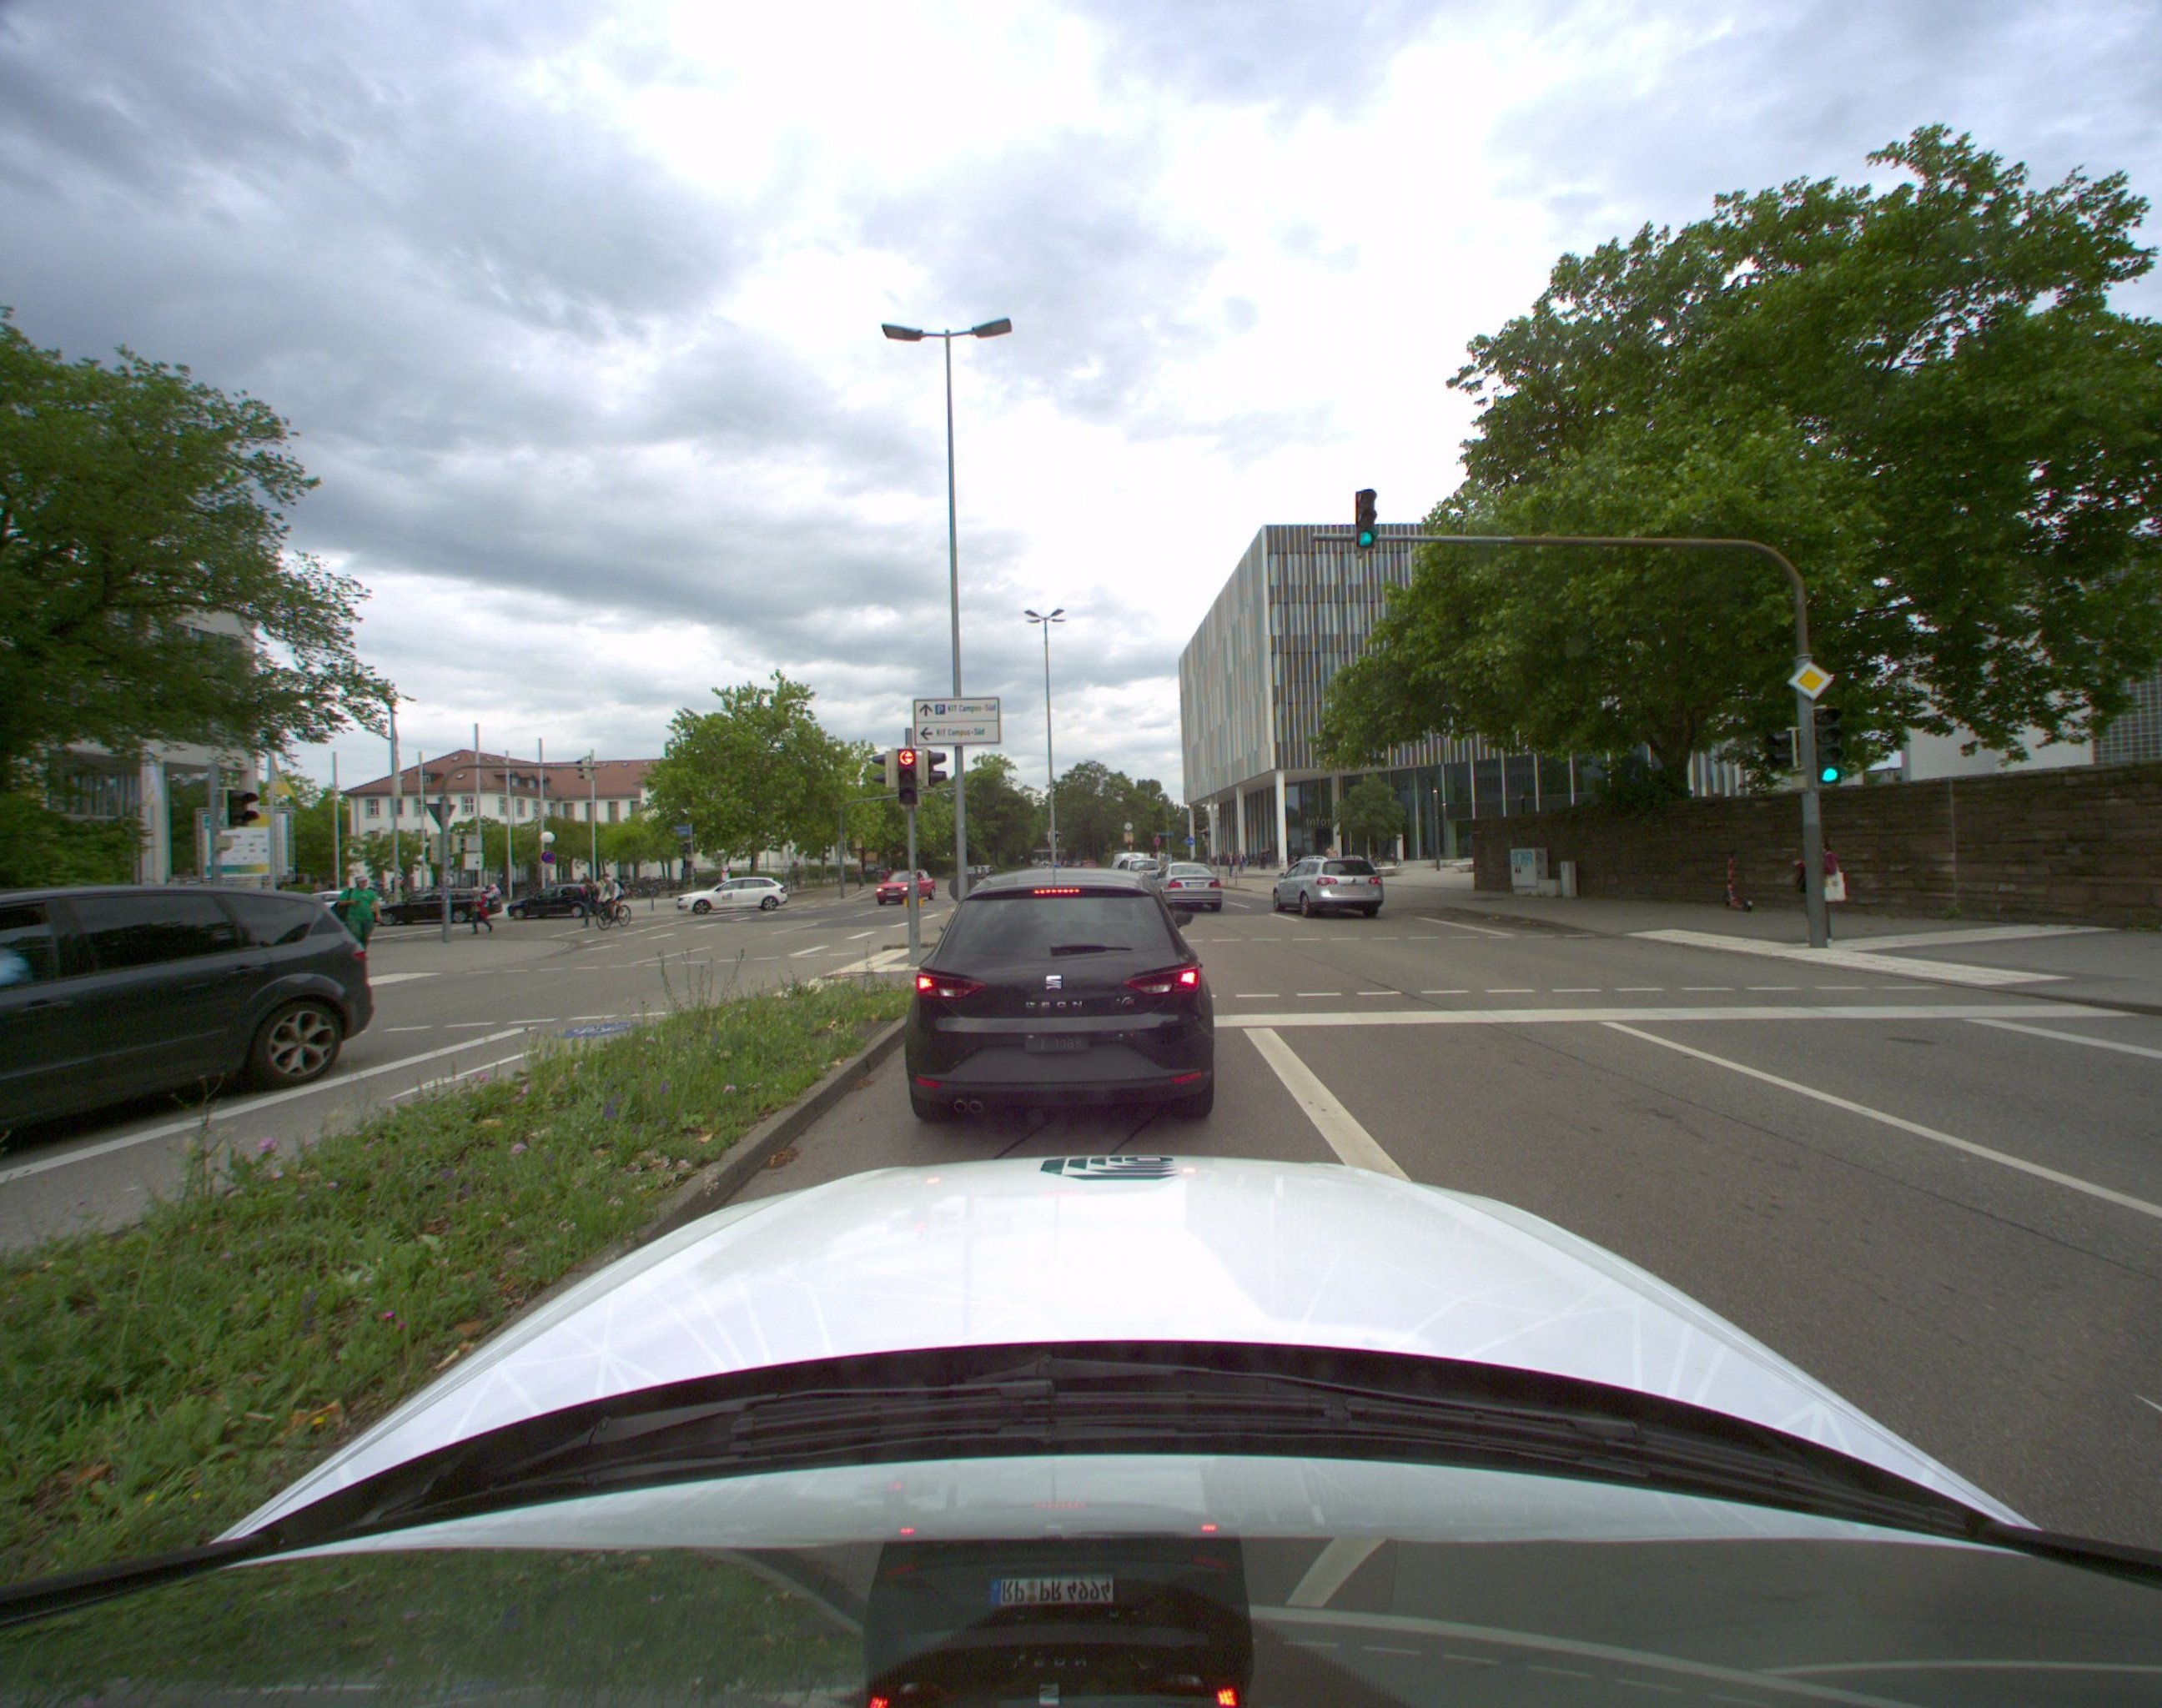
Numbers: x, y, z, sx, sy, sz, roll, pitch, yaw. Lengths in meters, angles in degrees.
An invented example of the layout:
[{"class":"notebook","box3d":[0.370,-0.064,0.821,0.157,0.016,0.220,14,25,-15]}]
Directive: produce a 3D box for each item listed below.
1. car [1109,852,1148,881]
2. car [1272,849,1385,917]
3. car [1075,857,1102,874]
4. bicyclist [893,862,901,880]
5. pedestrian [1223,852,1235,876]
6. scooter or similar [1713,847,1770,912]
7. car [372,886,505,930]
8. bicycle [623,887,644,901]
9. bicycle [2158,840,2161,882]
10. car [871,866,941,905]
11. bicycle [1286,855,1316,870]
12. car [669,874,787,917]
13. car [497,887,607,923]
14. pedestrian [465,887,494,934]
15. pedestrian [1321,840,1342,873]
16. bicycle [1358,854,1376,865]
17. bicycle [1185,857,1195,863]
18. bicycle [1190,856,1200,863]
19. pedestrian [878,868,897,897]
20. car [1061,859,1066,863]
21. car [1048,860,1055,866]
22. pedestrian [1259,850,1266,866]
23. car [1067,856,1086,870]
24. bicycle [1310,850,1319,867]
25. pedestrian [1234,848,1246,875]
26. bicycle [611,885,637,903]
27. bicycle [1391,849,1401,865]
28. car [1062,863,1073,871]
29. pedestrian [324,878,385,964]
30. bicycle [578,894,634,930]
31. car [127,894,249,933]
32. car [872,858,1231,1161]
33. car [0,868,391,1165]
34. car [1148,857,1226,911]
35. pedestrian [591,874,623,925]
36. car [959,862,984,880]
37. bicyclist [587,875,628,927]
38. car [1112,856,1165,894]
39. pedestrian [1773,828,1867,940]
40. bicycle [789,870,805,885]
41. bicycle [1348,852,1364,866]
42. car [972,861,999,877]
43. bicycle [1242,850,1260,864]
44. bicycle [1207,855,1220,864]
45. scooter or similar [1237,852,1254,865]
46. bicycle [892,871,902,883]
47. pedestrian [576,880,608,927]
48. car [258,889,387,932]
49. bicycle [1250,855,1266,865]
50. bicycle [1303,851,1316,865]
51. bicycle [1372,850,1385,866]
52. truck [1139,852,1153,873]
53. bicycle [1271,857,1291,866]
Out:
[{"class":"car","box3d":[3.255,0.830,57.188,1.965,1.972,4.332,0,0,-7]},{"class":"car","box3d":[6.207,0.725,20.938,1.817,1.551,4.531,-1,-1,4]},{"class":"car","box3d":[0.709,1.106,79.305,1.949,1.624,3.737,-1,0,-9]},{"class":"bicyclist","box3d":[-16.739,1.575,74.102,0.489,1.624,0.589,-1,1,2]},{"class":"pedestrian","box3d":[10.022,0.659,55.069,0.684,1.640,0.633,-1,0,1]},{"class":"scooter or similar","box3d":[13.089,0.484,16.177,0.428,1.179,1.714,-4,0,26]},{"class":"car","box3d":[-27.574,2.290,35.089,4.059,1.452,1.615,-3,5,-16]},{"class":"bicycle","box3d":[-30.885,2.769,56.202,1.211,0.880,0.262,-4,0,-22]},{"class":"bicycle","box3d":[13.549,0.379,8.918,0.801,1.174,1.952,-5,0,-3]},{"class":"car","box3d":[-7.629,1.350,35.910,1.705,1.418,4.300,-3,0,5]},{"class":"bicycle","box3d":[15.111,0.585,55.990,1.892,0.898,0.693,-4,0,-20]},{"class":"car","box3d":[-14.668,1.687,33.954,4.243,1.431,1.693,-4,0,-33]},{"class":"car","box3d":[-23.281,2.242,35.960,3.649,1.223,1.562,-2,7,-5]},{"class":"pedestrian","box3d":[-20.145,1.896,27.265,0.572,1.527,0.842,-2,-5,-22]},{"class":"pedestrian","box3d":[13.991,0.138,45.468,0.844,1.765,0.768,-4,0,1]},{"class":"bicycle","box3d":[21.187,0.400,60.298,1.535,0.716,0.513,-4,0,-42]},{"class":"bicycle","box3d":[14.560,0.788,108.790,1.262,0.848,0.479,1,-2,-21]},{"class":"bicycle","box3d":[14.959,0.733,106.695,1.239,0.823,0.479,0,-1,-21]},{"class":"pedestrian","box3d":[-11.001,1.611,46.295,0.873,1.586,0.542,-4,0,-5]},{"class":"car","box3d":[-4.865,1.989,227.714,1.501,1.193,3.161,-4,0,-2]},{"class":"car","box3d":[-7.976,2.452,222.972,1.692,1.503,4.003,-4,0,-5]},{"class":"pedestrian","box3d":[15.284,0.326,68.527,0.469,1.361,0.447,-4,0,12]},{"class":"car","box3d":[-0.564,1.118,103.370,1.912,1.664,4.106,-4,0,-6]},{"class":"bicycle","box3d":[18.407,0.322,64.116,0.522,1.253,1.674,-4,0,20]},{"class":"pedestrian","box3d":[10.765,0.528,55.114,0.684,1.781,0.677,-2,0,1]},{"class":"bicycle","box3d":[-31.077,2.720,55.436,1.405,1.052,0.585,-4,0,-19]},{"class":"bicycle","box3d":[22.537,0.240,58.297,0.616,1.056,1.959,-4,0,21]},{"class":"car","box3d":[-2.568,2.477,153.600,1.894,1.354,3.880,-4,0,-2]},{"class":"pedestrian","box3d":[-15.583,1.409,17.487,0.948,1.759,0.865,0,-2,-42]},{"class":"bicycle","box3d":[-15.228,1.836,26.152,0.662,1.062,1.624,-1,-1,10]},{"class":"car","box3d":[-38.321,2.534,35.011,3.341,1.479,1.559,-1,0,-5]},{"class":"car","box3d":[-0.016,0.775,5.875,1.745,1.432,3.773,-1,0,4]},{"class":"car","box3d":[-7.105,0.994,4.926,1.913,1.664,4.400,-4,-1,2]},{"class":"car","box3d":[3.107,0.842,24.621,1.717,1.414,4.243,-1,0,-1]},{"class":"pedestrian","box3d":[-16.919,1.639,29.076,0.843,1.740,0.824,-2,-5,-22]},{"class":"car","box3d":[-11.677,1.766,86.703,1.899,1.717,4.002,-4,0,2]},{"class":"bicyclist","box3d":[-15.225,1.506,26.186,0.662,1.635,0.964,-1,-1,10]},{"class":"car","box3d":[2.586,0.935,37.582,1.727,1.603,4.097,-1,0,-6]},{"class":"pedestrian","box3d":[10.937,0.432,12.073,0.657,1.561,0.636,-6,0,1]},{"class":"bicycle","box3d":[-20.973,1.714,60.181,0.606,1.060,2.041,-4,0,-4]},{"class":"bicycle","box3d":[20.594,0.367,60.983,0.688,0.946,1.997,-4,0,32]},{"class":"car","box3d":[-11.326,1.769,96.721,1.746,1.587,4.016,-4,0,15]},{"class":"bicycle","box3d":[16.180,0.319,77.519,1.785,1.211,0.564,-4,0,-32]},{"class":"bicycle","box3d":[14.944,0.650,91.681,1.379,0.942,0.489,-3,0,8]},{"class":"scooter or similar","box3d":[15.796,0.457,78.105,1.682,1.106,0.494,-4,0,-30]},{"class":"bicycle","box3d":[-16.736,2.090,74.116,0.486,1.005,1.590,-1,1,2]},{"class":"pedestrian","box3d":[-16.567,1.669,27.569,0.796,1.558,0.691,0,-5,-42]},{"class":"car","box3d":[-33.047,2.457,35.575,3.868,1.539,1.684,-2,2,-2]},{"class":"bicycle","box3d":[16.469,0.550,75.802,1.445,0.857,0.362,-4,0,-25]},{"class":"bicycle","box3d":[18.795,0.352,66.901,0.614,1.045,1.716,-4,0,28]},{"class":"bicycle","box3d":[21.661,0.300,59.244,0.802,1.056,1.959,-4,0,21]},{"class":"truck","box3d":[7.209,0.908,90.545,1.313,2.243,3.403,-4,0,2]},{"class":"bicycle","box3d":[17.058,0.640,69.433,1.475,0.748,0.566,-4,0,-2]}]
